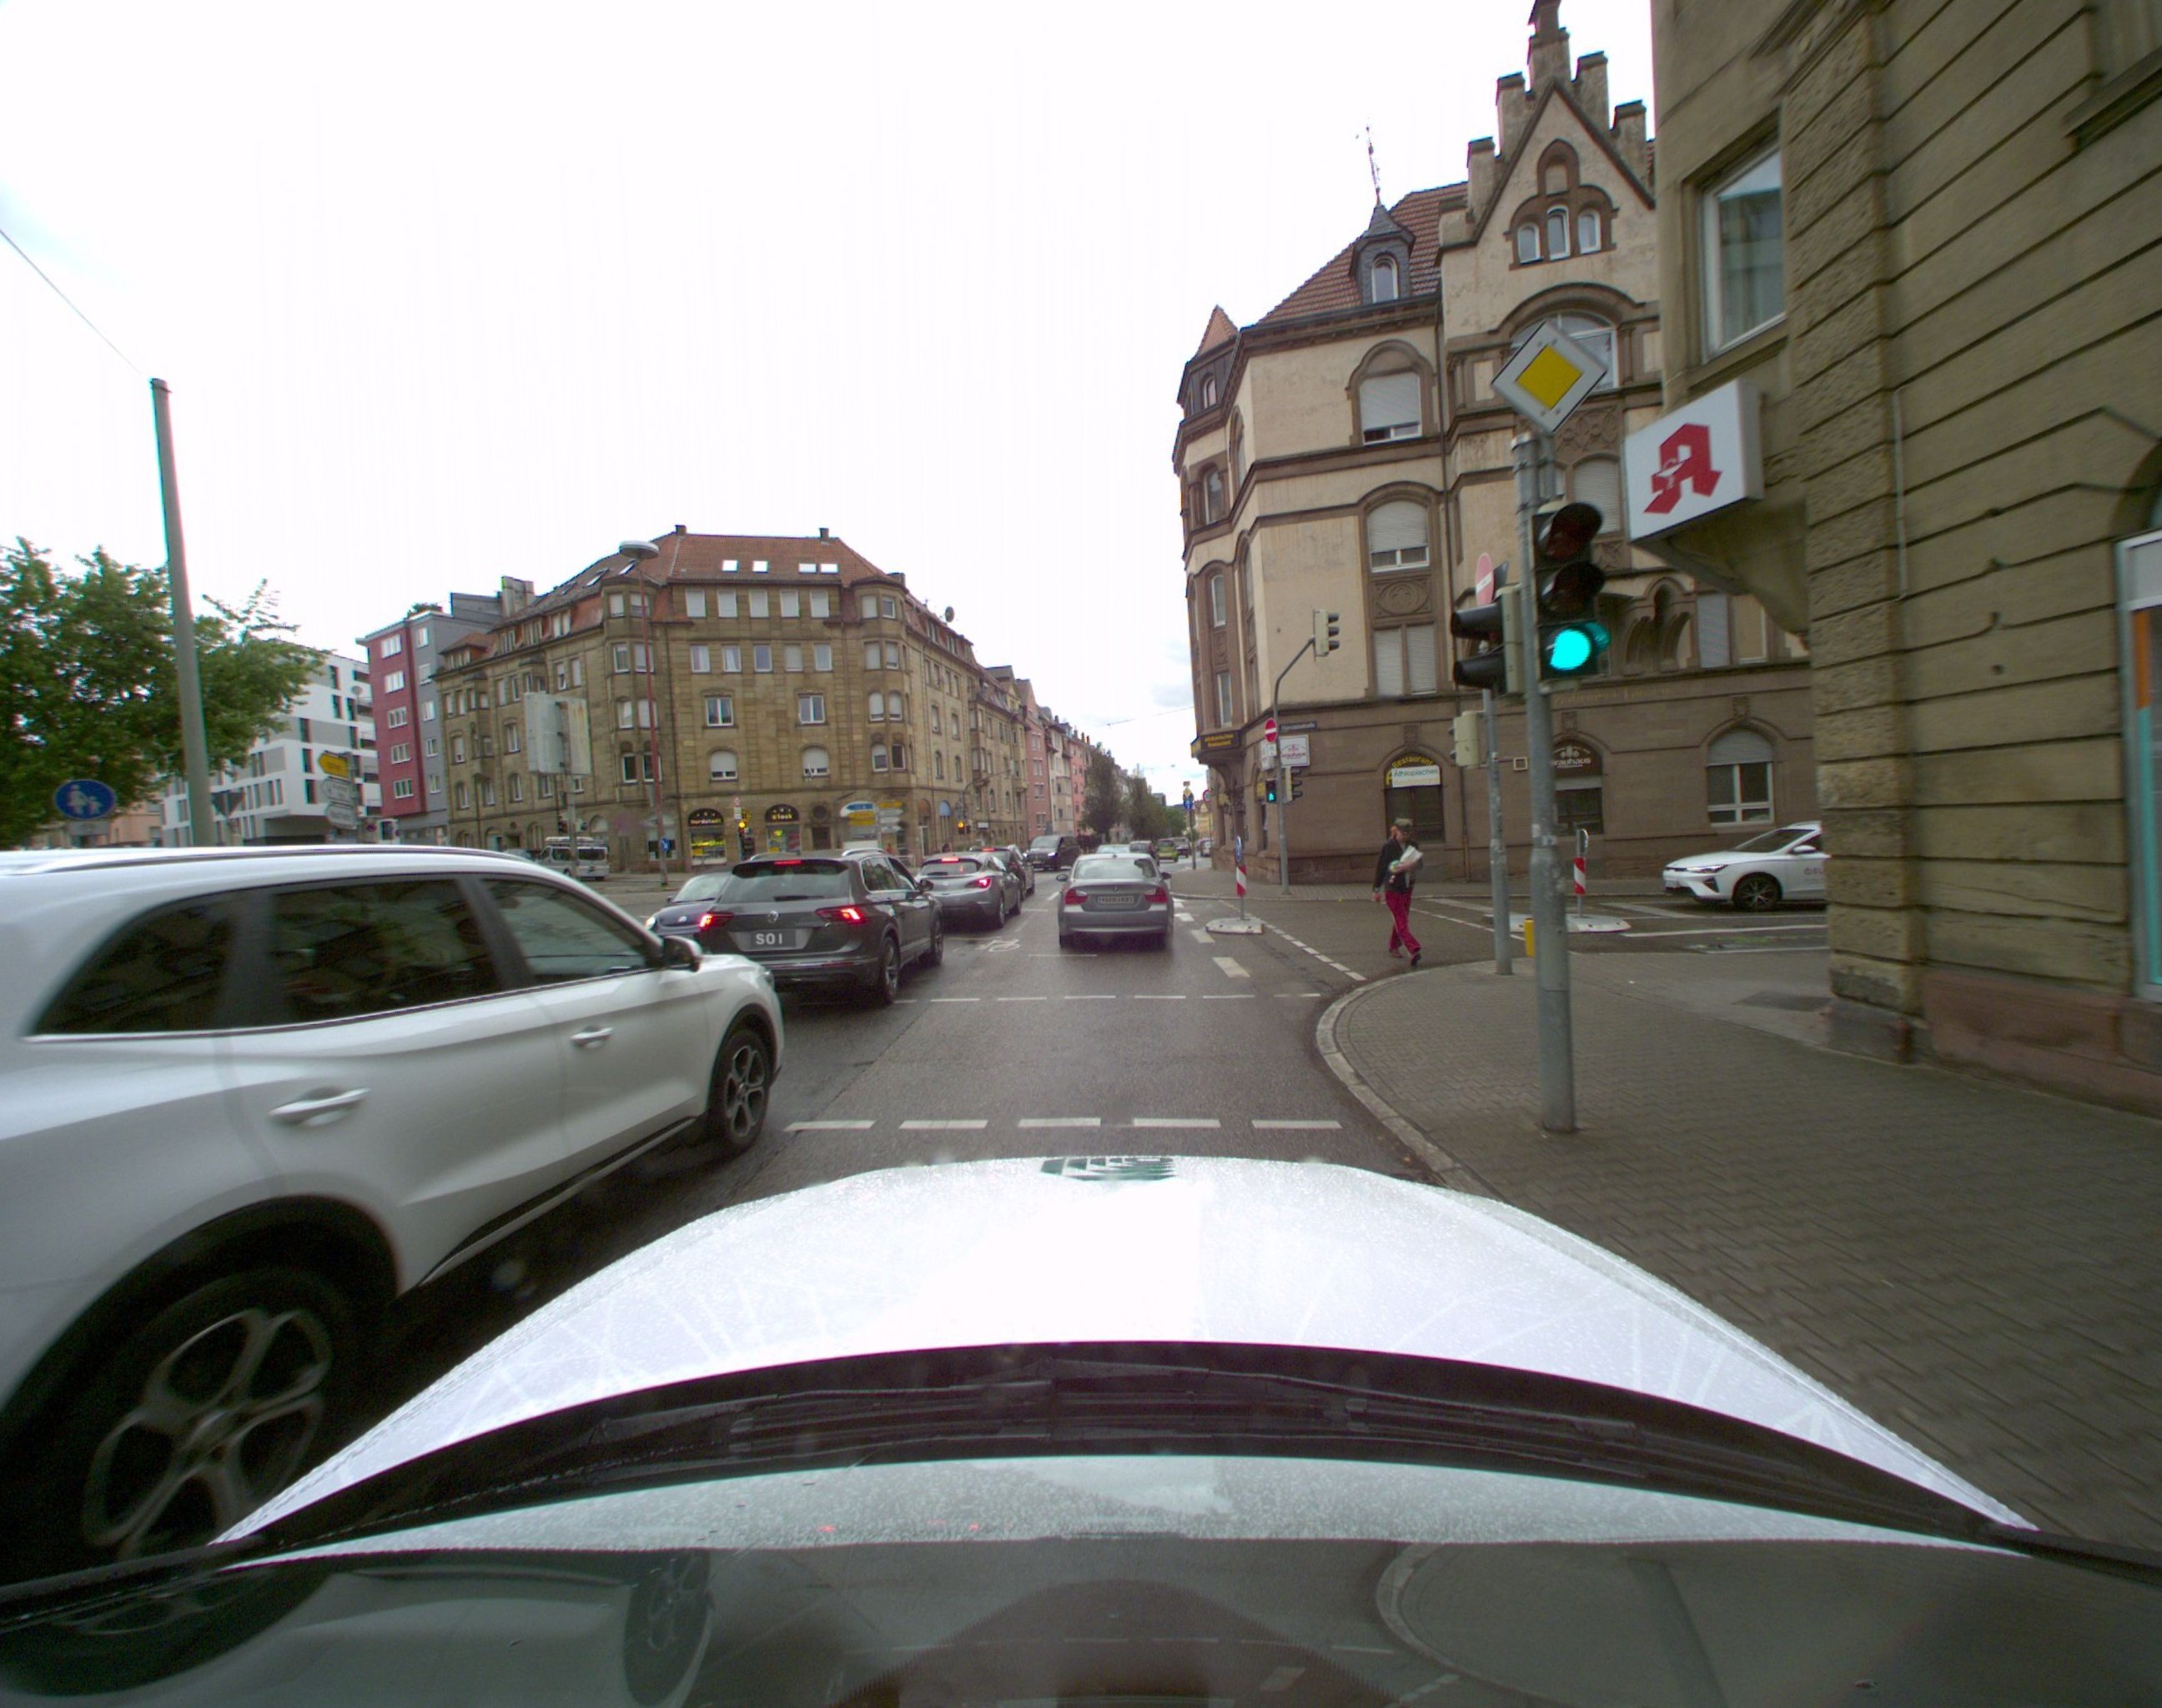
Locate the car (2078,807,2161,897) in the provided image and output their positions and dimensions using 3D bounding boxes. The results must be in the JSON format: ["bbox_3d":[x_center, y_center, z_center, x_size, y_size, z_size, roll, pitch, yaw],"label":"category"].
[{"bbox_3d":[19.285,-0.081,13.014,4.039,1.426,1.733,-1,0,12],"label":"car"}]

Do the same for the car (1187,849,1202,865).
[{"bbox_3d":[13.939,0.383,99.873,1.802,1.904,4.010,-1,-1,9],"label":"car"}]

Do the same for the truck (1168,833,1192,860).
[{"bbox_3d":[9.394,-0.702,77.103,2.020,2.412,4.838,-2,0,9],"label":"truck"}]

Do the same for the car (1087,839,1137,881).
[{"bbox_3d":[1.238,0.219,31.049,1.673,1.428,3.747,-2,0,5],"label":"car"}]

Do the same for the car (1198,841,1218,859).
[{"bbox_3d":[11.989,-0.404,77.161,1.788,1.564,4.503,-2,0,8],"label":"car"}]

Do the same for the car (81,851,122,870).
[{"bbox_3d":[-96.305,0.619,80.060,4.162,1.704,1.708,-1,0,28],"label":"car"}]

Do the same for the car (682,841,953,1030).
[{"bbox_3d":[-2.794,0.731,9.726,1.746,1.644,4.213,-2,2,1],"label":"car"}]

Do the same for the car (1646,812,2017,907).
[{"bbox_3d":[13.092,0.119,14.568,4.525,1.510,1.850,-1,0,15],"label":"car"}]

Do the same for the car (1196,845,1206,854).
[{"bbox_3d":[25.246,-0.902,171.607,1.867,1.731,4.689,-1,0,9],"label":"car"}]

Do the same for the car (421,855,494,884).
[{"bbox_3d":[-38.956,0.950,50.861,4.162,1.704,2.012,-1,0,28],"label":"car"}]

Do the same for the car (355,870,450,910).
[{"bbox_3d":[-28.610,1.487,34.329,3.972,1.491,1.778,-1,2,31],"label":"car"}]

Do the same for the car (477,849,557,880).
[{"bbox_3d":[-32.812,0.615,47.344,4.326,1.704,2.012,-1,0,28],"label":"car"}]

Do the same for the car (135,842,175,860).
[{"bbox_3d":[-94.513,-0.262,83.105,4.162,1.704,1.708,-1,0,28],"label":"car"}]

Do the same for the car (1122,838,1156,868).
[{"bbox_3d":[3.187,-0.058,44.270,1.689,1.483,3.799,-2,0,6],"label":"car"}]

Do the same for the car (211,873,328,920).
[{"bbox_3d":[-29.172,1.472,29.249,4.336,1.491,1.926,-1,1,31],"label":"car"}]

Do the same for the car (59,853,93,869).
[{"bbox_3d":[-116.453,0.812,94.361,4.162,1.704,1.708,-1,0,28],"label":"car"}]

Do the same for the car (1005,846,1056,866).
[{"bbox_3d":[-4.480,0.162,72.613,4.122,1.510,1.878,-3,0,9],"label":"car"}]

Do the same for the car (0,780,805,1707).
[{"bbox_3d":[-2.634,0.737,2.945,1.746,1.644,4.377,-2,0,0],"label":"car"}]

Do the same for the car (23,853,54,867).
[{"bbox_3d":[-131.080,0.764,102.408,4.162,1.704,1.708,-1,0,28],"label":"car"}]

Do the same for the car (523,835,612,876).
[{"bbox_3d":[-28.420,0.093,45.070,4.743,2.168,2.012,-1,0,28],"label":"car"}]

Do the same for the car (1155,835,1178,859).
[{"bbox_3d":[5.762,-0.443,55.065,1.442,1.565,3.338,-2,0,6],"label":"car"}]

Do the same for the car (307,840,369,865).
[{"bbox_3d":[-53.735,-0.121,58.905,4.162,1.704,2.012,-1,0,28],"label":"car"}]

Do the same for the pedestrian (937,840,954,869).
[{"bbox_3d":[-8.120,0.027,48.791,0.829,1.702,0.634,-2,0,-21],"label":"pedestrian"}]

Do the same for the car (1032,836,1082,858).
[{"bbox_3d":[-2.301,-0.704,77.646,4.660,1.938,1.863,-1,1,-1],"label":"car"}]

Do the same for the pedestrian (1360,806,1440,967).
[{"bbox_3d":[4.084,0.386,10.496,0.694,1.949,1.093,-2,2,8],"label":"pedestrian"}]

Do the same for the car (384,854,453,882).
[{"bbox_3d":[-43.448,0.918,53.439,4.162,1.704,2.012,-1,0,28],"label":"car"}]

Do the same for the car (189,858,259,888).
[{"bbox_3d":[-46.275,1.045,43.981,4.101,1.538,1.749,-2,-1,31],"label":"car"}]

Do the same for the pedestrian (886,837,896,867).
[{"bbox_3d":[-11.190,-0.110,47.891,0.523,1.774,0.690,-1,0,-15],"label":"pedestrian"}]

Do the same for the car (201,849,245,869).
[{"bbox_3d":[-78.403,0.463,74.399,4.162,1.704,1.708,-1,0,28],"label":"car"}]

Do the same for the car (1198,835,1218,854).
[{"bbox_3d":[13.839,-1.053,88.483,1.908,1.827,5.022,-4,0,9],"label":"car"}]

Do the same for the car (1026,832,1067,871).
[{"bbox_3d":[-1.782,-0.121,43.095,1.735,1.846,4.149,-4,0,2],"label":"car"}]

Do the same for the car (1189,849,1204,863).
[{"bbox_3d":[15.500,0.257,109.180,1.767,1.798,4.010,-1,-1,9],"label":"car"}]

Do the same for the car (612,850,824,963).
[{"bbox_3d":[-6.322,0.830,14.700,1.705,1.496,3.689,-8,1,6],"label":"car"}]

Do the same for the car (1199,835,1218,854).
[{"bbox_3d":[12.935,-0.944,82.460,1.867,1.731,4.689,-2,0,9],"label":"car"}]

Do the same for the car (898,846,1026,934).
[{"bbox_3d":[-2.277,0.621,16.696,1.745,1.483,4.184,-3,1,3],"label":"car"}]

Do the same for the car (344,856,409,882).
[{"bbox_3d":[-48.885,1.038,56.485,4.162,1.704,2.012,-1,0,28],"label":"car"}]

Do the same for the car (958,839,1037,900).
[{"bbox_3d":[-2.294,0.426,23.406,1.746,1.535,4.215,-2,0,1],"label":"car"}]

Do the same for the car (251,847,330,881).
[{"bbox_3d":[-39.876,0.498,41.043,4.247,1.537,1.750,-1,2,31],"label":"car"}]

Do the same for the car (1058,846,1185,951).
[{"bbox_3d":[0.597,0.607,13.322,1.763,1.428,3.741,-1,1,1],"label":"car"}]
